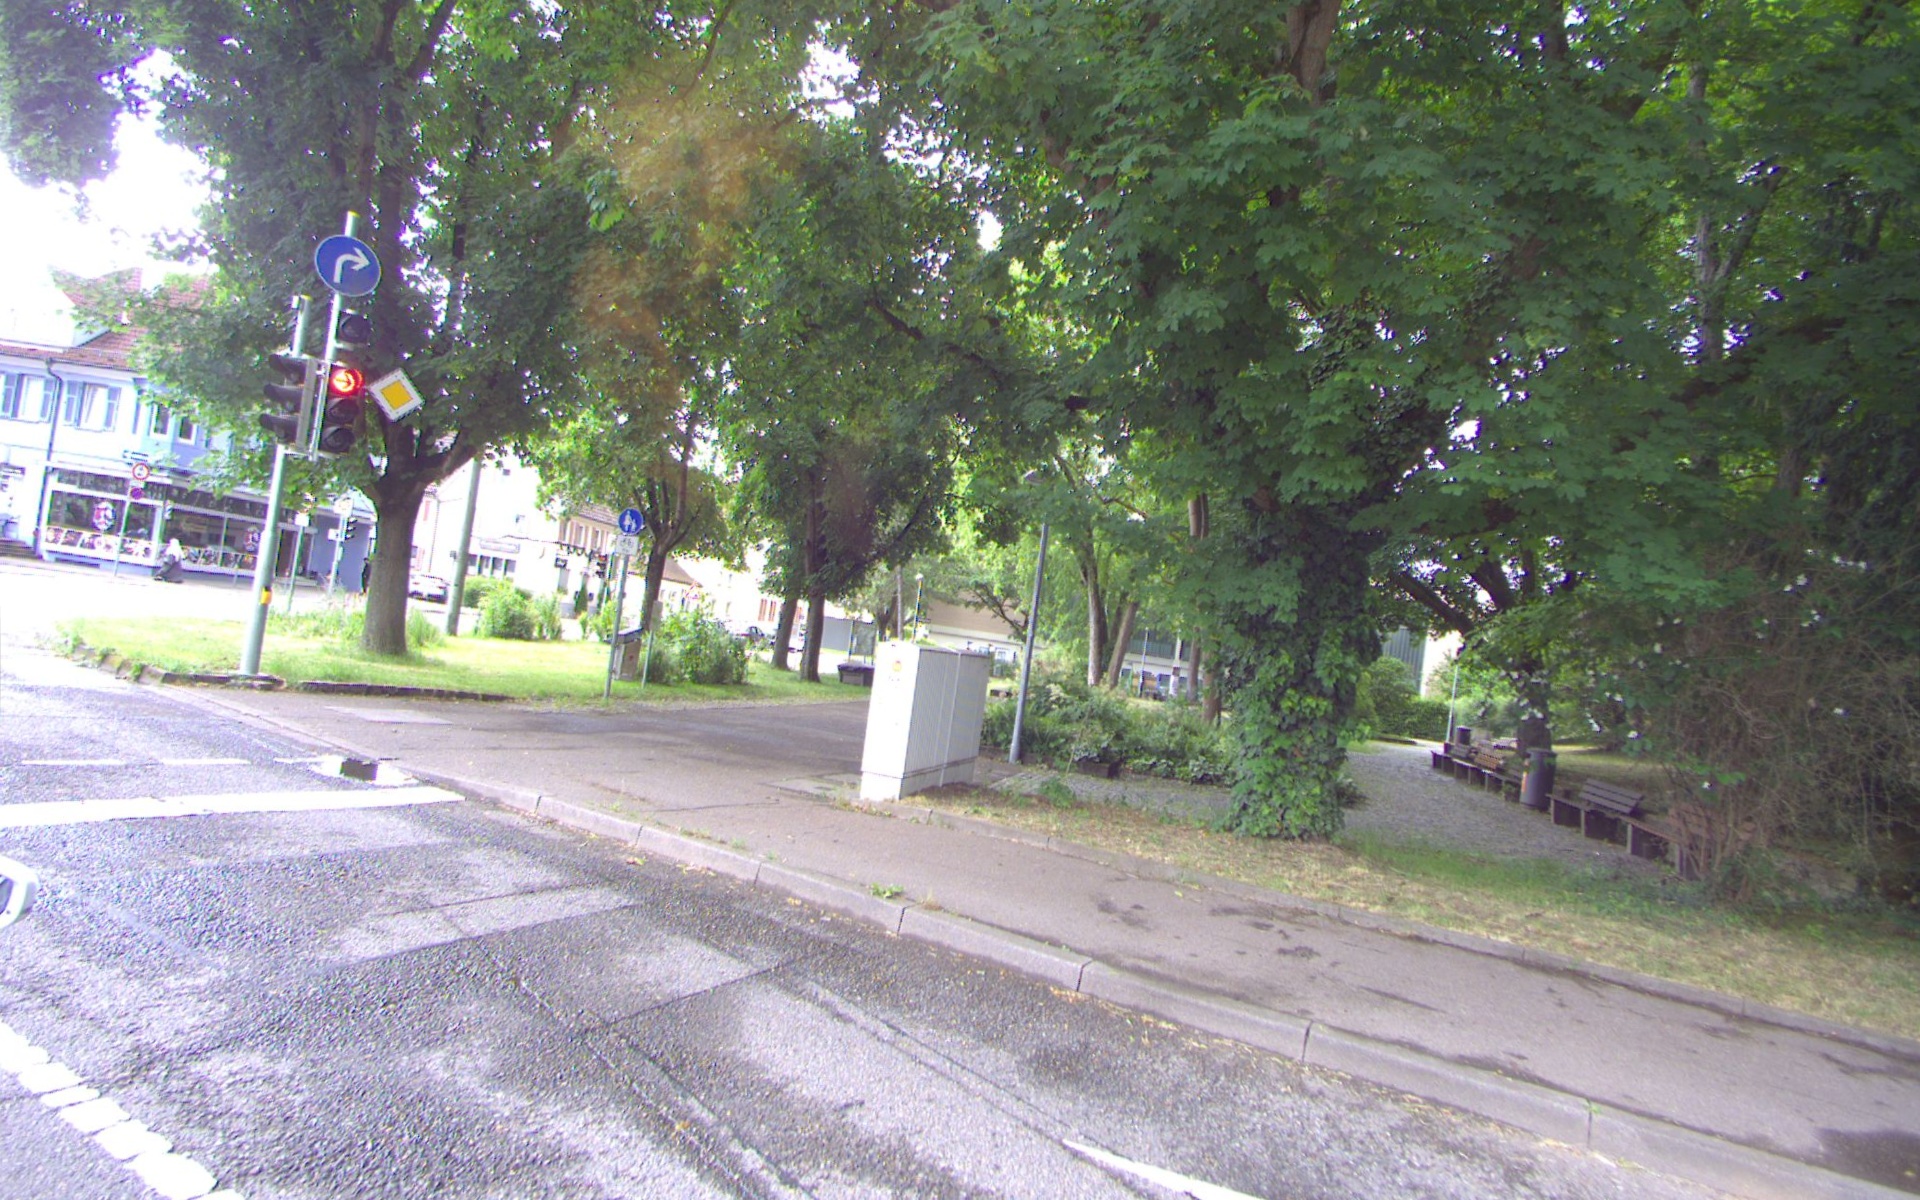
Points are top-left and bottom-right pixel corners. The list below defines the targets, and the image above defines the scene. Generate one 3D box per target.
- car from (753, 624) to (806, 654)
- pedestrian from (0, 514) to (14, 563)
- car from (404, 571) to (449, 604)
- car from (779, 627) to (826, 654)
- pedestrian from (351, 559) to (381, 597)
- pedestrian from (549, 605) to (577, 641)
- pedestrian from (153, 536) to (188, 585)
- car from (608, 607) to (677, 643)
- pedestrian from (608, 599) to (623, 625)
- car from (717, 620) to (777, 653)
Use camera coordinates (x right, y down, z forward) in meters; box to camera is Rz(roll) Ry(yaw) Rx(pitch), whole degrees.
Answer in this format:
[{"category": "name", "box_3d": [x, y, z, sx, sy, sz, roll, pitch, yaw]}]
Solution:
[{"category": "car", "box_3d": [-10.704, 2.342, 59.904, 1.618, 1.474, 3.740, 7, -2, 13]}, {"category": "pedestrian", "box_3d": [-31.921, -2.078, 33.168, 0.725, 1.578, 0.763, 7, -1, -27]}, {"category": "car", "box_3d": [-28.179, -0.686, 53.157, 1.870, 1.406, 3.589, 9, -2, -28]}, {"category": "car", "box_3d": [-10.278, 2.659, 66.035, 1.618, 1.474, 3.740, 7, -2, 13]}, {"category": "pedestrian", "box_3d": [-26.787, -0.972, 45.359, 0.732, 1.578, 0.673, 6, -1, 17]}, {"category": "pedestrian", "box_3d": [-13.052, 0.754, 33.082, 0.506, 1.093, 0.507, 6, -1, 17]}, {"category": "pedestrian", "box_3d": [-27.571, -1.374, 35.157, 0.688, 1.578, 0.662, 7, -1, -27]}, {"category": "car", "box_3d": [-13.865, 1.125, 44.106, 1.436, 1.282, 3.014, 7, -2, 13]}, {"category": "pedestrian", "box_3d": [-21.439, 0.746, 62.669, 0.500, 1.578, 0.505, 6, -1, 17]}, {"category": "car", "box_3d": [-11.567, 2.018, 54.930, 1.618, 1.474, 3.740, 7, -2, 13]}]
